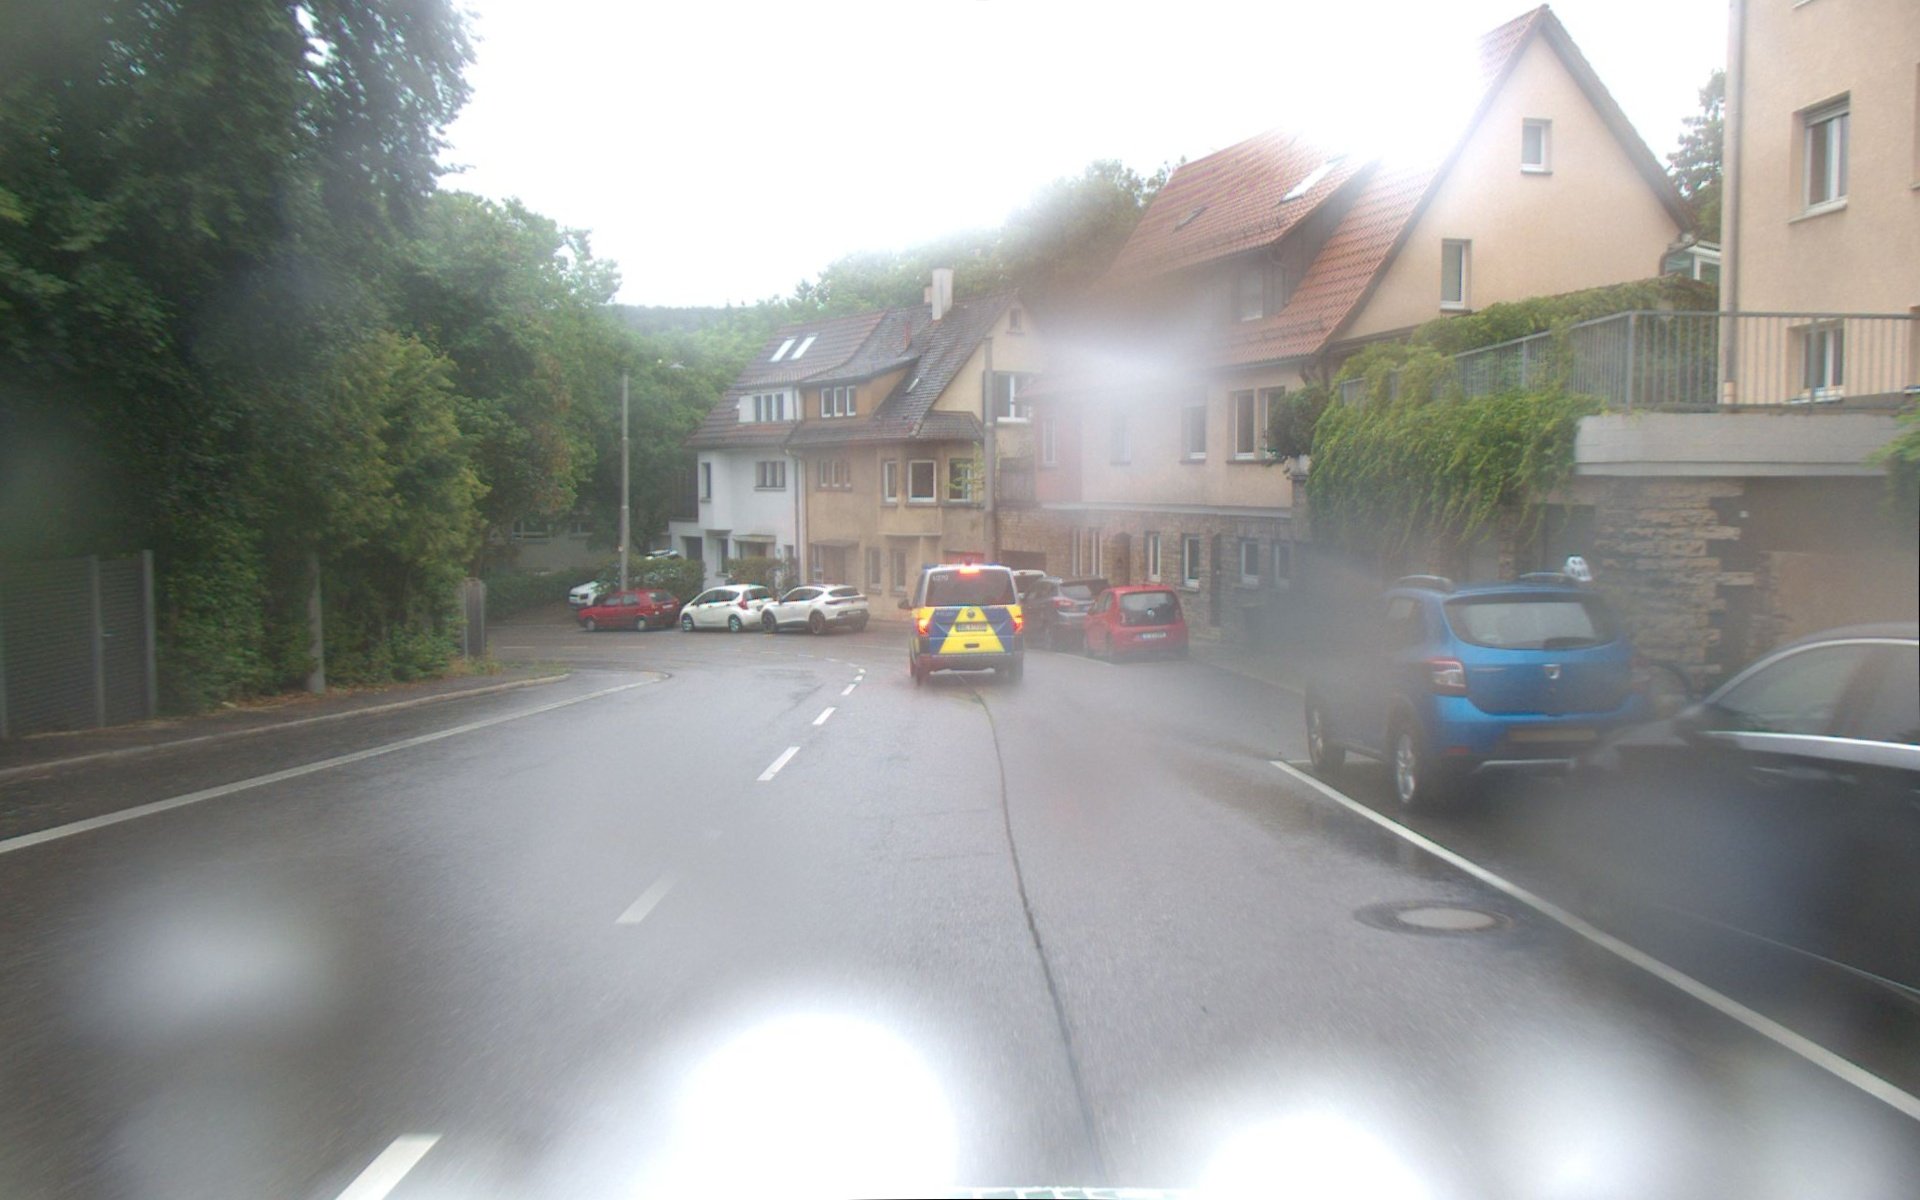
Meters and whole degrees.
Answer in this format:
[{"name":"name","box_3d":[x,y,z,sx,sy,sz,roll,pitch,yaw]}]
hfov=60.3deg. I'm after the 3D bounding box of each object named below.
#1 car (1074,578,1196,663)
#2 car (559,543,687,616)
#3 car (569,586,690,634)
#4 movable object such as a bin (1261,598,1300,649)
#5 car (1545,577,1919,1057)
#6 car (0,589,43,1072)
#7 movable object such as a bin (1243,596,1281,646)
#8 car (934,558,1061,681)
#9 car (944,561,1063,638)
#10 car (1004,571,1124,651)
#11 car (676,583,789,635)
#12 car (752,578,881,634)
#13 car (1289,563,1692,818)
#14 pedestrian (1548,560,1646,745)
[{"name":"car","box_3d":[3.558,0.375,34.211,1.585,1.460,3.575,-5,2,-8]},{"name":"car","box_3d":[-13.445,-0.858,66.048,4.362,1.870,1.979,-16,10,-30]},{"name":"car","box_3d":[-11.937,0.371,59.669,4.105,1.390,1.783,-3,3,31]},{"name":"movable object such as a bin","box_3d":[6.334,0.461,32.705,0.584,0.939,0.514,-5,2,-6]},{"name":"car","box_3d":[3.822,0.679,6.098,1.655,1.480,4.252,-1,1,-3]},{"name":"car","box_3d":[-3.547,0.700,3.212,1.617,1.445,3.799,1,1,-4]},{"name":"movable object such as a bin","box_3d":[6.114,0.421,33.467,0.576,0.939,0.507,-5,2,-6]},{"name":"car","box_3d":[0.573,0.340,29.240,1.953,1.926,4.568,-2,0,-2]},{"name":"car","box_3d":[1.095,-0.062,44.186,1.680,1.821,4.302,-5,3,-19]},{"name":"car","box_3d":[2.400,0.200,39.336,1.587,1.632,4.398,-5,2,-12]},{"name":"car","box_3d":[-7.818,0.307,56.655,3.756,1.541,1.760,-2,3,43]},{"name":"car","box_3d":[-4.659,0.204,53.220,1.903,1.564,4.349,-6,3,-40]},{"name":"car","box_3d":[3.870,0.552,12.870,1.698,1.621,4.253,-1,1,-1]},{"name":"pedestrian","box_3d":[5.921,0.472,15.378,0.613,1.679,0.608,0,0,-32]}]
